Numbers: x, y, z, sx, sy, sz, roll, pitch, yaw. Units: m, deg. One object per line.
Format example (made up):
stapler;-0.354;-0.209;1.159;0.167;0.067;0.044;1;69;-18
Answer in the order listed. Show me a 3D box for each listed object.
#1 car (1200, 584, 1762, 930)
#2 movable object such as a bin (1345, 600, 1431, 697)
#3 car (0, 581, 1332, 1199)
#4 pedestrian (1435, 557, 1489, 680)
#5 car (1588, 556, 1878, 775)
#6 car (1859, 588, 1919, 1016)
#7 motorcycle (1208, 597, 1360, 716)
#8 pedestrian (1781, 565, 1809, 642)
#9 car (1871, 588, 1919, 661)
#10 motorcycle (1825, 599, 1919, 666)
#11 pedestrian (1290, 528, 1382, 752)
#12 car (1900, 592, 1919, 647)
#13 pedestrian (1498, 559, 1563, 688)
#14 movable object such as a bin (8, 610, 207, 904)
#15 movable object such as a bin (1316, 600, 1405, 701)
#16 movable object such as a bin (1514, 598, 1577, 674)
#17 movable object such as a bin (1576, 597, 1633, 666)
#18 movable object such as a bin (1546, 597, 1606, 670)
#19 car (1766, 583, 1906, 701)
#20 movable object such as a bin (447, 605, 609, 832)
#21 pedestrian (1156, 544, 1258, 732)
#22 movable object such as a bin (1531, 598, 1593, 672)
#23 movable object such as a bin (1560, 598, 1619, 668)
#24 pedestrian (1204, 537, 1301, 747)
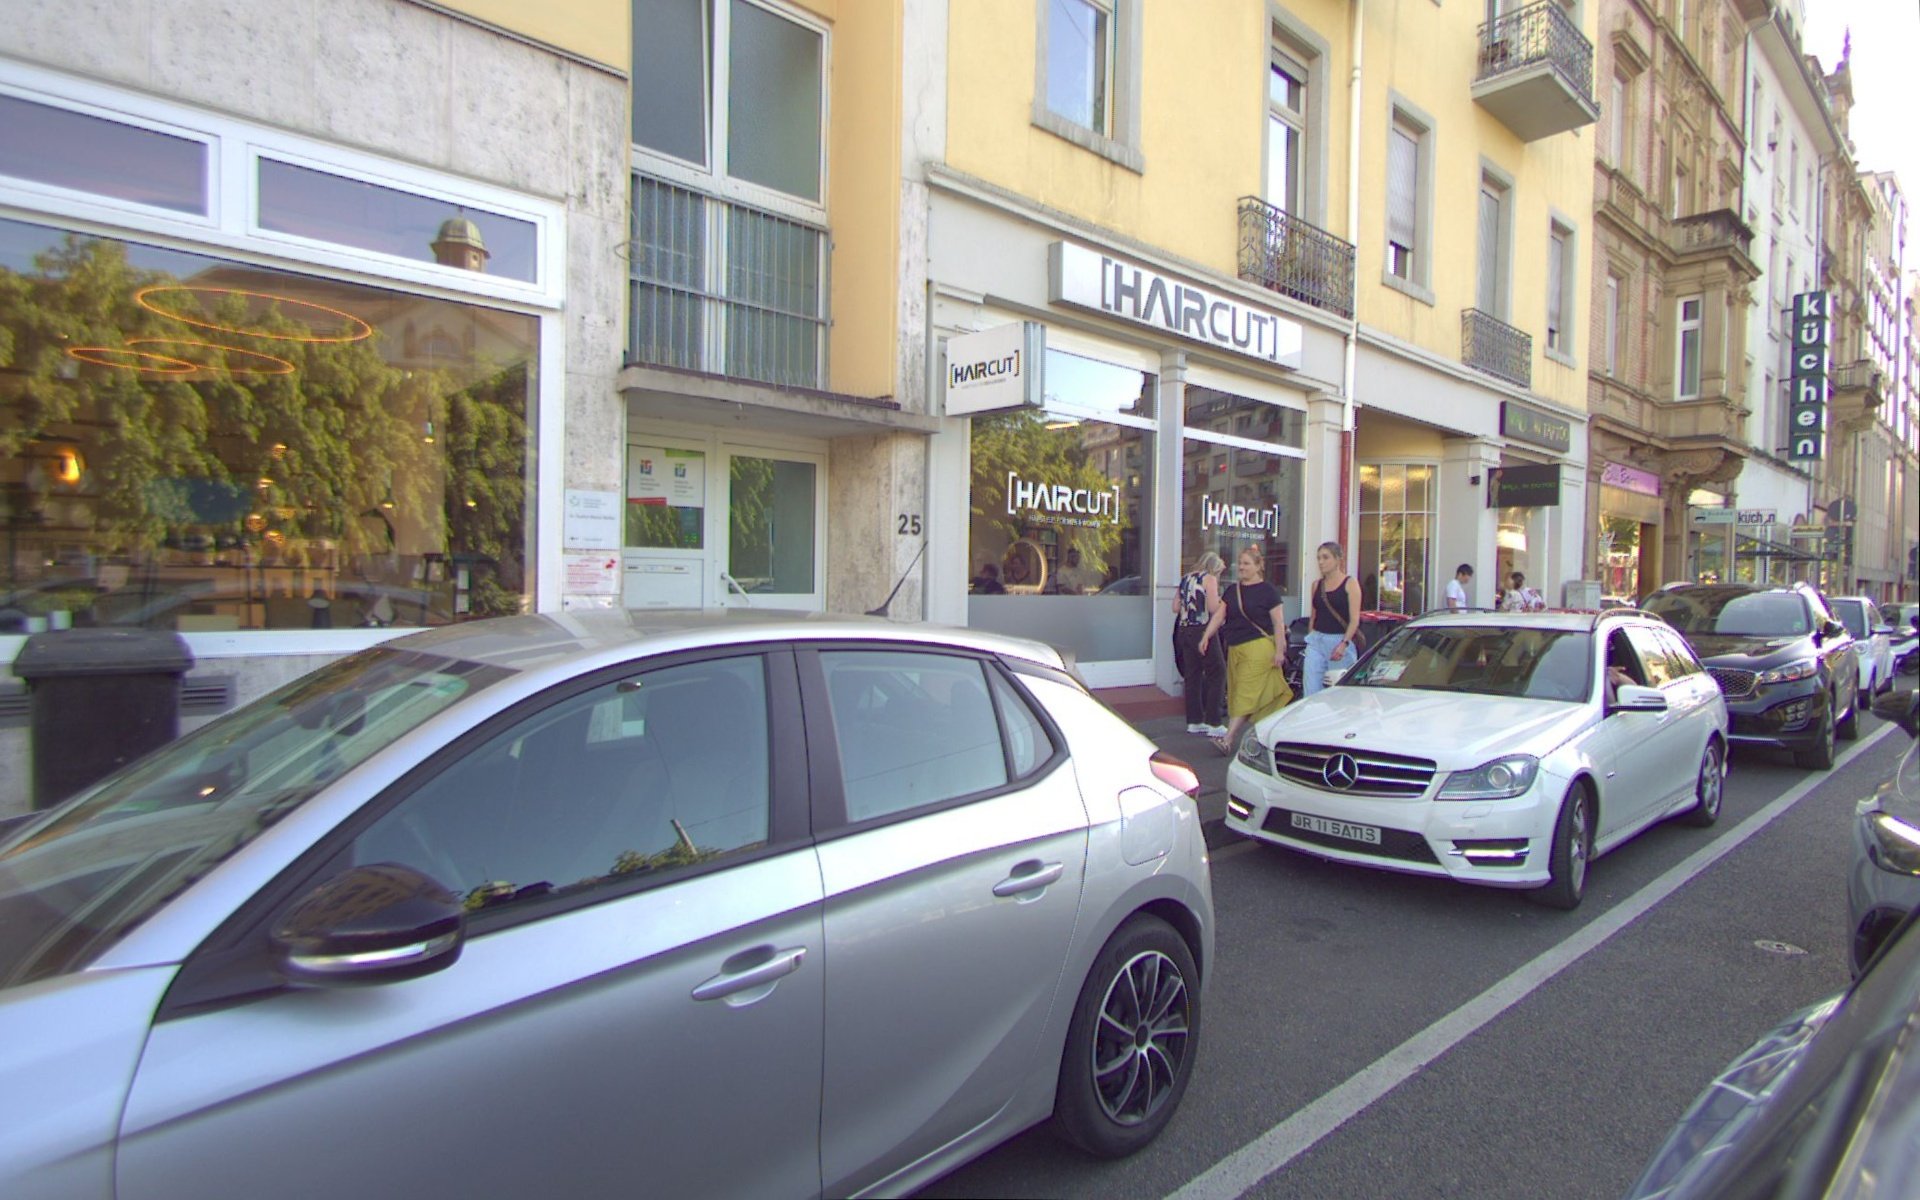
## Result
car;3.544;0.651;6.446;4.387;1.465;1.741;0;1;-42
movable object such as a bin;4.990;0.547;11.808;0.608;1.037;0.669;0;3;-38
car;-0.871;0.688;2.453;4.007;1.445;1.672;0;1;-42
pedestrian;6.982;0.250;14.080;0.513;1.681;0.339;1;1;-12
car;8.035;0.497;10.344;4.498;1.758;1.756;0;1;-45
car;5.403;0.698;4.315;4.297;1.467;1.846;0;1;-41
motorcycle;3.384;0.532;10.464;1.975;1.105;0.551;0;3;-42
pedestrian;19.644;0.076;23.806;0.473;1.785;0.434;0;0;-41
car;22.060;0.518;22.973;4.096;1.537;1.734;0;1;-44
motorcycle;19.018;0.652;20.477;2.137;1.295;0.866;1;0;8
pedestrian;2.883;0.291;7.778;0.407;1.653;0.515;0;0;-36
car;26.572;0.507;27.054;3.736;1.435;1.736;0;1;-41
pedestrian;7.648;0.307;13.584;0.583;1.681;0.450;2;1;10
movable object such as a bin;-3.663;0.614;4.368;0.609;1.080;0.704;0;4;-41
movable object such as a bin;4.511;0.549;11.417;0.608;1.054;0.661;1;3;-38
movable object such as a bin;8.818;0.528;15.248;0.608;1.079;0.606;0;4;-41
movable object such as a bin;10.767;0.511;16.910;0.608;1.079;0.606;0;4;-41
movable object such as a bin;9.765;0.516;16.048;0.608;1.079;0.606;0;4;-41
car;12.737;0.540;14.684;2.748;1.537;1.273;0;1;-44
movable object such as a bin;-2.358;0.596;5.507;0.609;1.080;0.704;0;4;-41
pedestrian;2.276;0.319;9.342;0.523;1.653;0.697;0;2;-43
movable object such as a bin;9.308;0.522;15.655;0.608;1.079;0.606;0;4;-41
movable object such as a bin;10.236;0.523;16.455;0.608;1.079;0.606;0;4;-41
pedestrian;2.406;0.325;8.360;0.454;1.653;0.619;0;0;-31
